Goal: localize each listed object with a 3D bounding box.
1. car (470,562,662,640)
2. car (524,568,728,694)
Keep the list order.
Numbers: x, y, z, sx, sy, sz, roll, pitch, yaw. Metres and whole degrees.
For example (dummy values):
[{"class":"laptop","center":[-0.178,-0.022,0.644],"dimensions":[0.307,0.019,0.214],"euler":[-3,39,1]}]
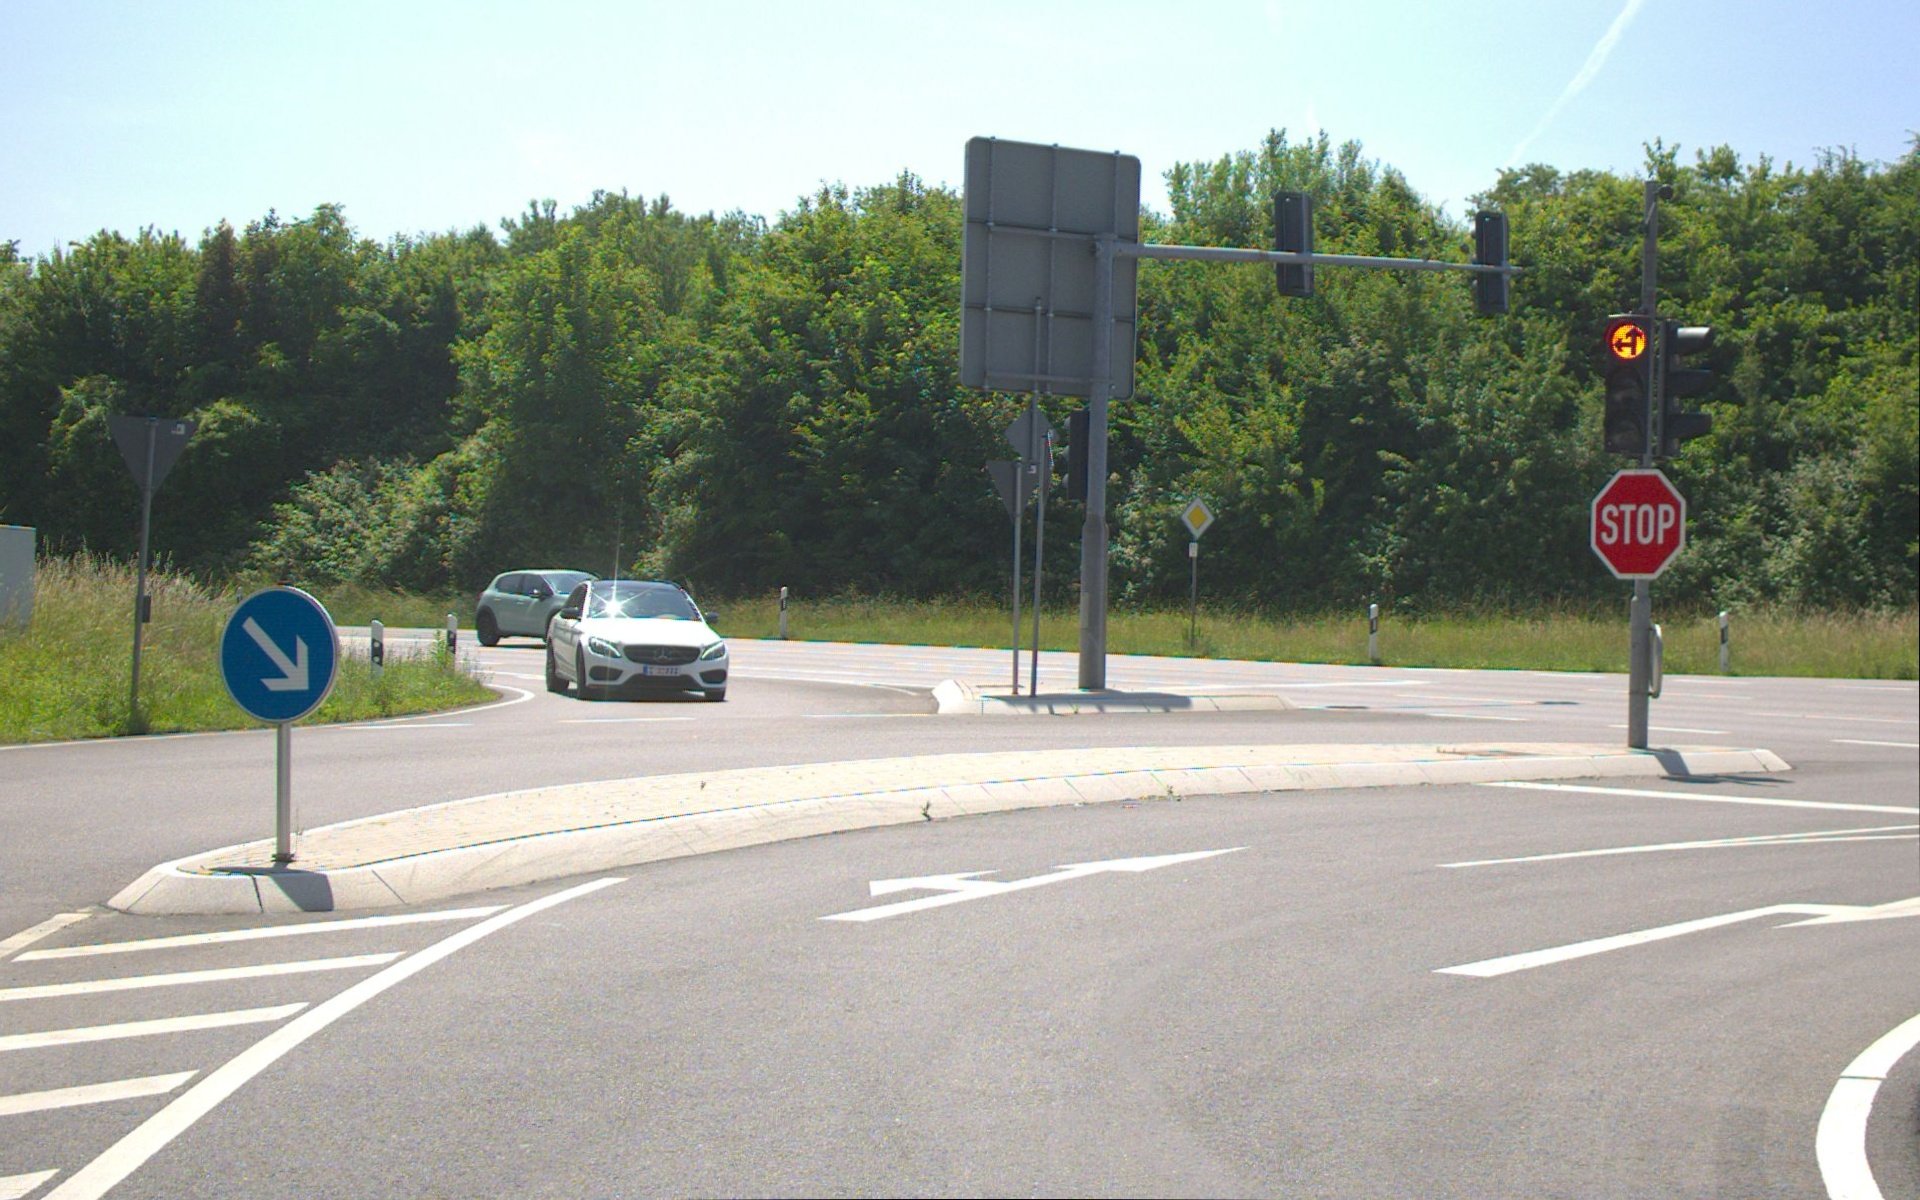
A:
[{"class":"car","center":[-7.616,0.002,66.225],"dimensions":[1.729,1.399,3.985],"euler":[-1,2,-41]},{"class":"car","center":[-4.314,0.348,43.686],"dimensions":[1.804,1.407,5.336],"euler":[1,1,-14]}]
